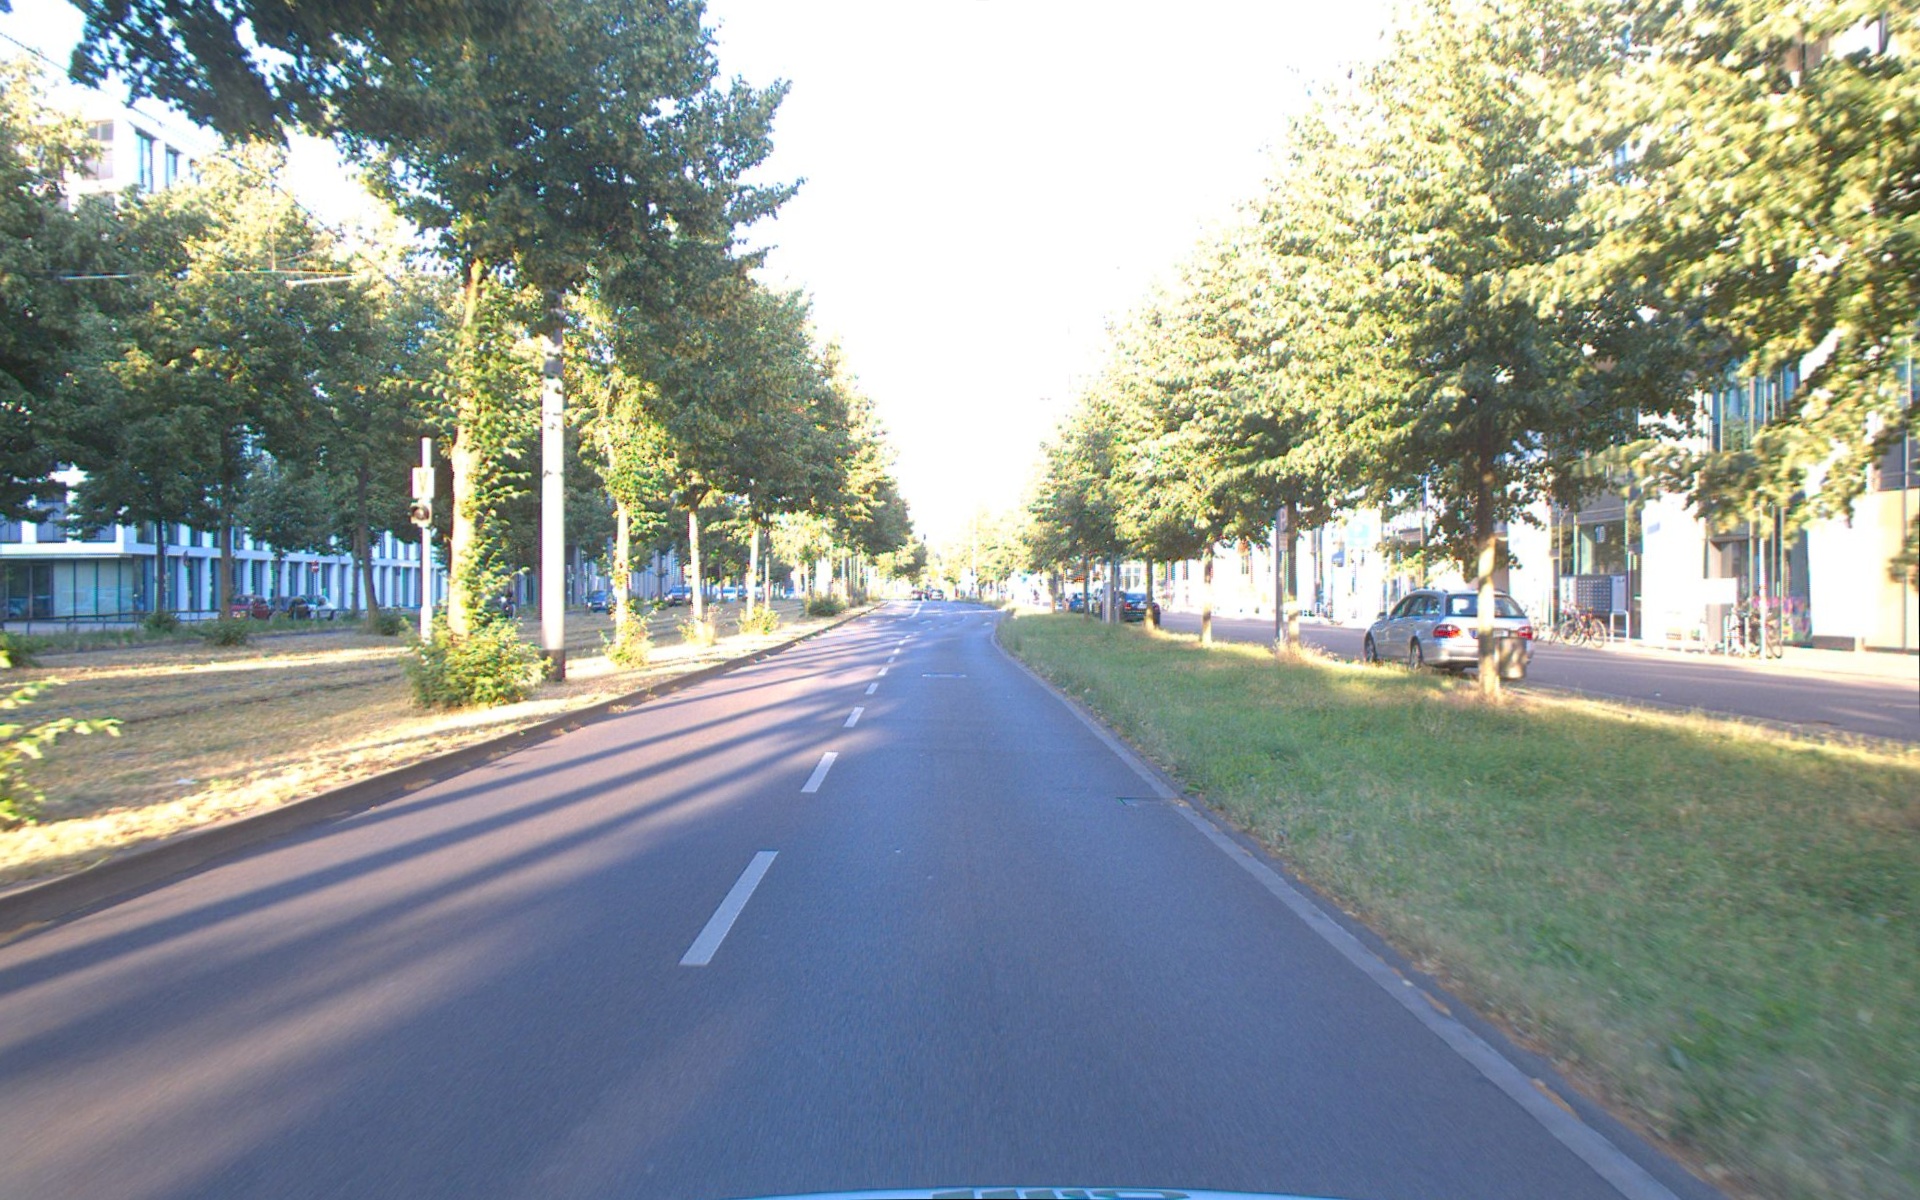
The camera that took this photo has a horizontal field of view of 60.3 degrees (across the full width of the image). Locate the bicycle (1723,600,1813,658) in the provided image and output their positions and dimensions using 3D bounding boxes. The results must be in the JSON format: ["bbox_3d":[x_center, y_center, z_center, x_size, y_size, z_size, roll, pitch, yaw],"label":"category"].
[{"bbox_3d":[15.836,0.553,32.470,0.524,1.079,1.850,-2,1,-13],"label":"bicycle"}]

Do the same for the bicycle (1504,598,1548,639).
[{"bbox_3d":[15.600,0.493,45.635,0.522,1.079,1.857,-2,1,-1],"label":"bicycle"}]

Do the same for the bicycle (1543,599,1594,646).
[{"bbox_3d":[14.993,0.544,40.801,0.522,1.079,1.857,-2,1,-1],"label":"bicycle"}]

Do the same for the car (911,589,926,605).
[{"bbox_3d":[-5.663,-0.419,225.282,2.045,2.049,3.999,0,1,-2],"label":"car"}]

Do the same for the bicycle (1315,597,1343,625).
[{"bbox_3d":[14.680,0.432,65.802,0.639,1.057,2.055,0,0,-1],"label":"bicycle"}]

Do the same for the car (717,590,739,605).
[{"bbox_3d":[-21.571,-0.253,153.698,1.624,1.355,4.528,0,0,-3],"label":"car"}]

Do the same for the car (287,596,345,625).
[{"bbox_3d":[-36.578,0.567,93.978,1.822,1.609,3.784,0,0,0],"label":"car"}]

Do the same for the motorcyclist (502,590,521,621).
[{"bbox_3d":[-20.241,0.247,74.671,0.667,1.399,0.804,0,0,-2],"label":"motorcyclist"}]

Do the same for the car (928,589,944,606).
[{"bbox_3d":[-2.992,-0.334,208.976,1.953,2.049,3.999,0,1,-2],"label":"car"}]

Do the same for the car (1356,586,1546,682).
[{"bbox_3d":[8.462,0.529,28.939,1.772,1.527,4.824,0,1,-2],"label":"car"}]

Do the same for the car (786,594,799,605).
[{"bbox_3d":[-23.686,-0.048,233.659,1.769,1.573,3.531,0,0,-5],"label":"car"}]

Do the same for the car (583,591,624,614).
[{"bbox_3d":[-23.769,0.170,110.430,1.879,1.534,4.286,0,0,-1],"label":"car"}]

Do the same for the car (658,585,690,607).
[{"bbox_3d":[-21.962,-0.314,127.078,1.847,1.605,4.180,0,0,-2],"label":"car"}]

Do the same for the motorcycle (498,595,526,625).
[{"bbox_3d":[-20.254,0.436,74.756,0.668,1.360,2.344,0,0,-2],"label":"motorcycle"}]

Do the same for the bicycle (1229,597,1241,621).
[{"bbox_3d":[14.335,0.464,86.217,0.558,1.144,1.835,-2,1,10],"label":"bicycle"}]

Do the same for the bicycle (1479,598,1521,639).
[{"bbox_3d":[15.062,0.507,46.185,0.522,1.079,1.857,-2,1,-1],"label":"bicycle"}]

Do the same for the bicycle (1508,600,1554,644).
[{"bbox_3d":[15.031,0.566,43.578,0.522,1.079,1.857,-2,1,-1],"label":"bicycle"}]

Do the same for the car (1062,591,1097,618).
[{"bbox_3d":[7.110,0.250,98.644,1.689,1.556,4.267,1,0,-1],"label":"car"}]

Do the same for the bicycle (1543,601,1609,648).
[{"bbox_3d":[14.654,0.572,39.390,0.524,1.079,1.850,-2,1,-13],"label":"bicycle"}]

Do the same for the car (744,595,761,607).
[{"bbox_3d":[-24.968,0.083,198.775,1.740,1.436,3.707,0,0,-3],"label":"car"}]

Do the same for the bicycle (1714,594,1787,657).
[{"bbox_3d":[15.481,0.482,32.430,0.527,1.184,1.781,-2,1,0],"label":"bicycle"}]

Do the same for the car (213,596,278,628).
[{"bbox_3d":[-36.249,0.595,84.003,1.822,1.609,3.492,0,0,0],"label":"car"}]

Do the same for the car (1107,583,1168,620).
[{"bbox_3d":[7.766,0.062,72.760,1.905,1.576,4.809,0,0,-3],"label":"car"}]
